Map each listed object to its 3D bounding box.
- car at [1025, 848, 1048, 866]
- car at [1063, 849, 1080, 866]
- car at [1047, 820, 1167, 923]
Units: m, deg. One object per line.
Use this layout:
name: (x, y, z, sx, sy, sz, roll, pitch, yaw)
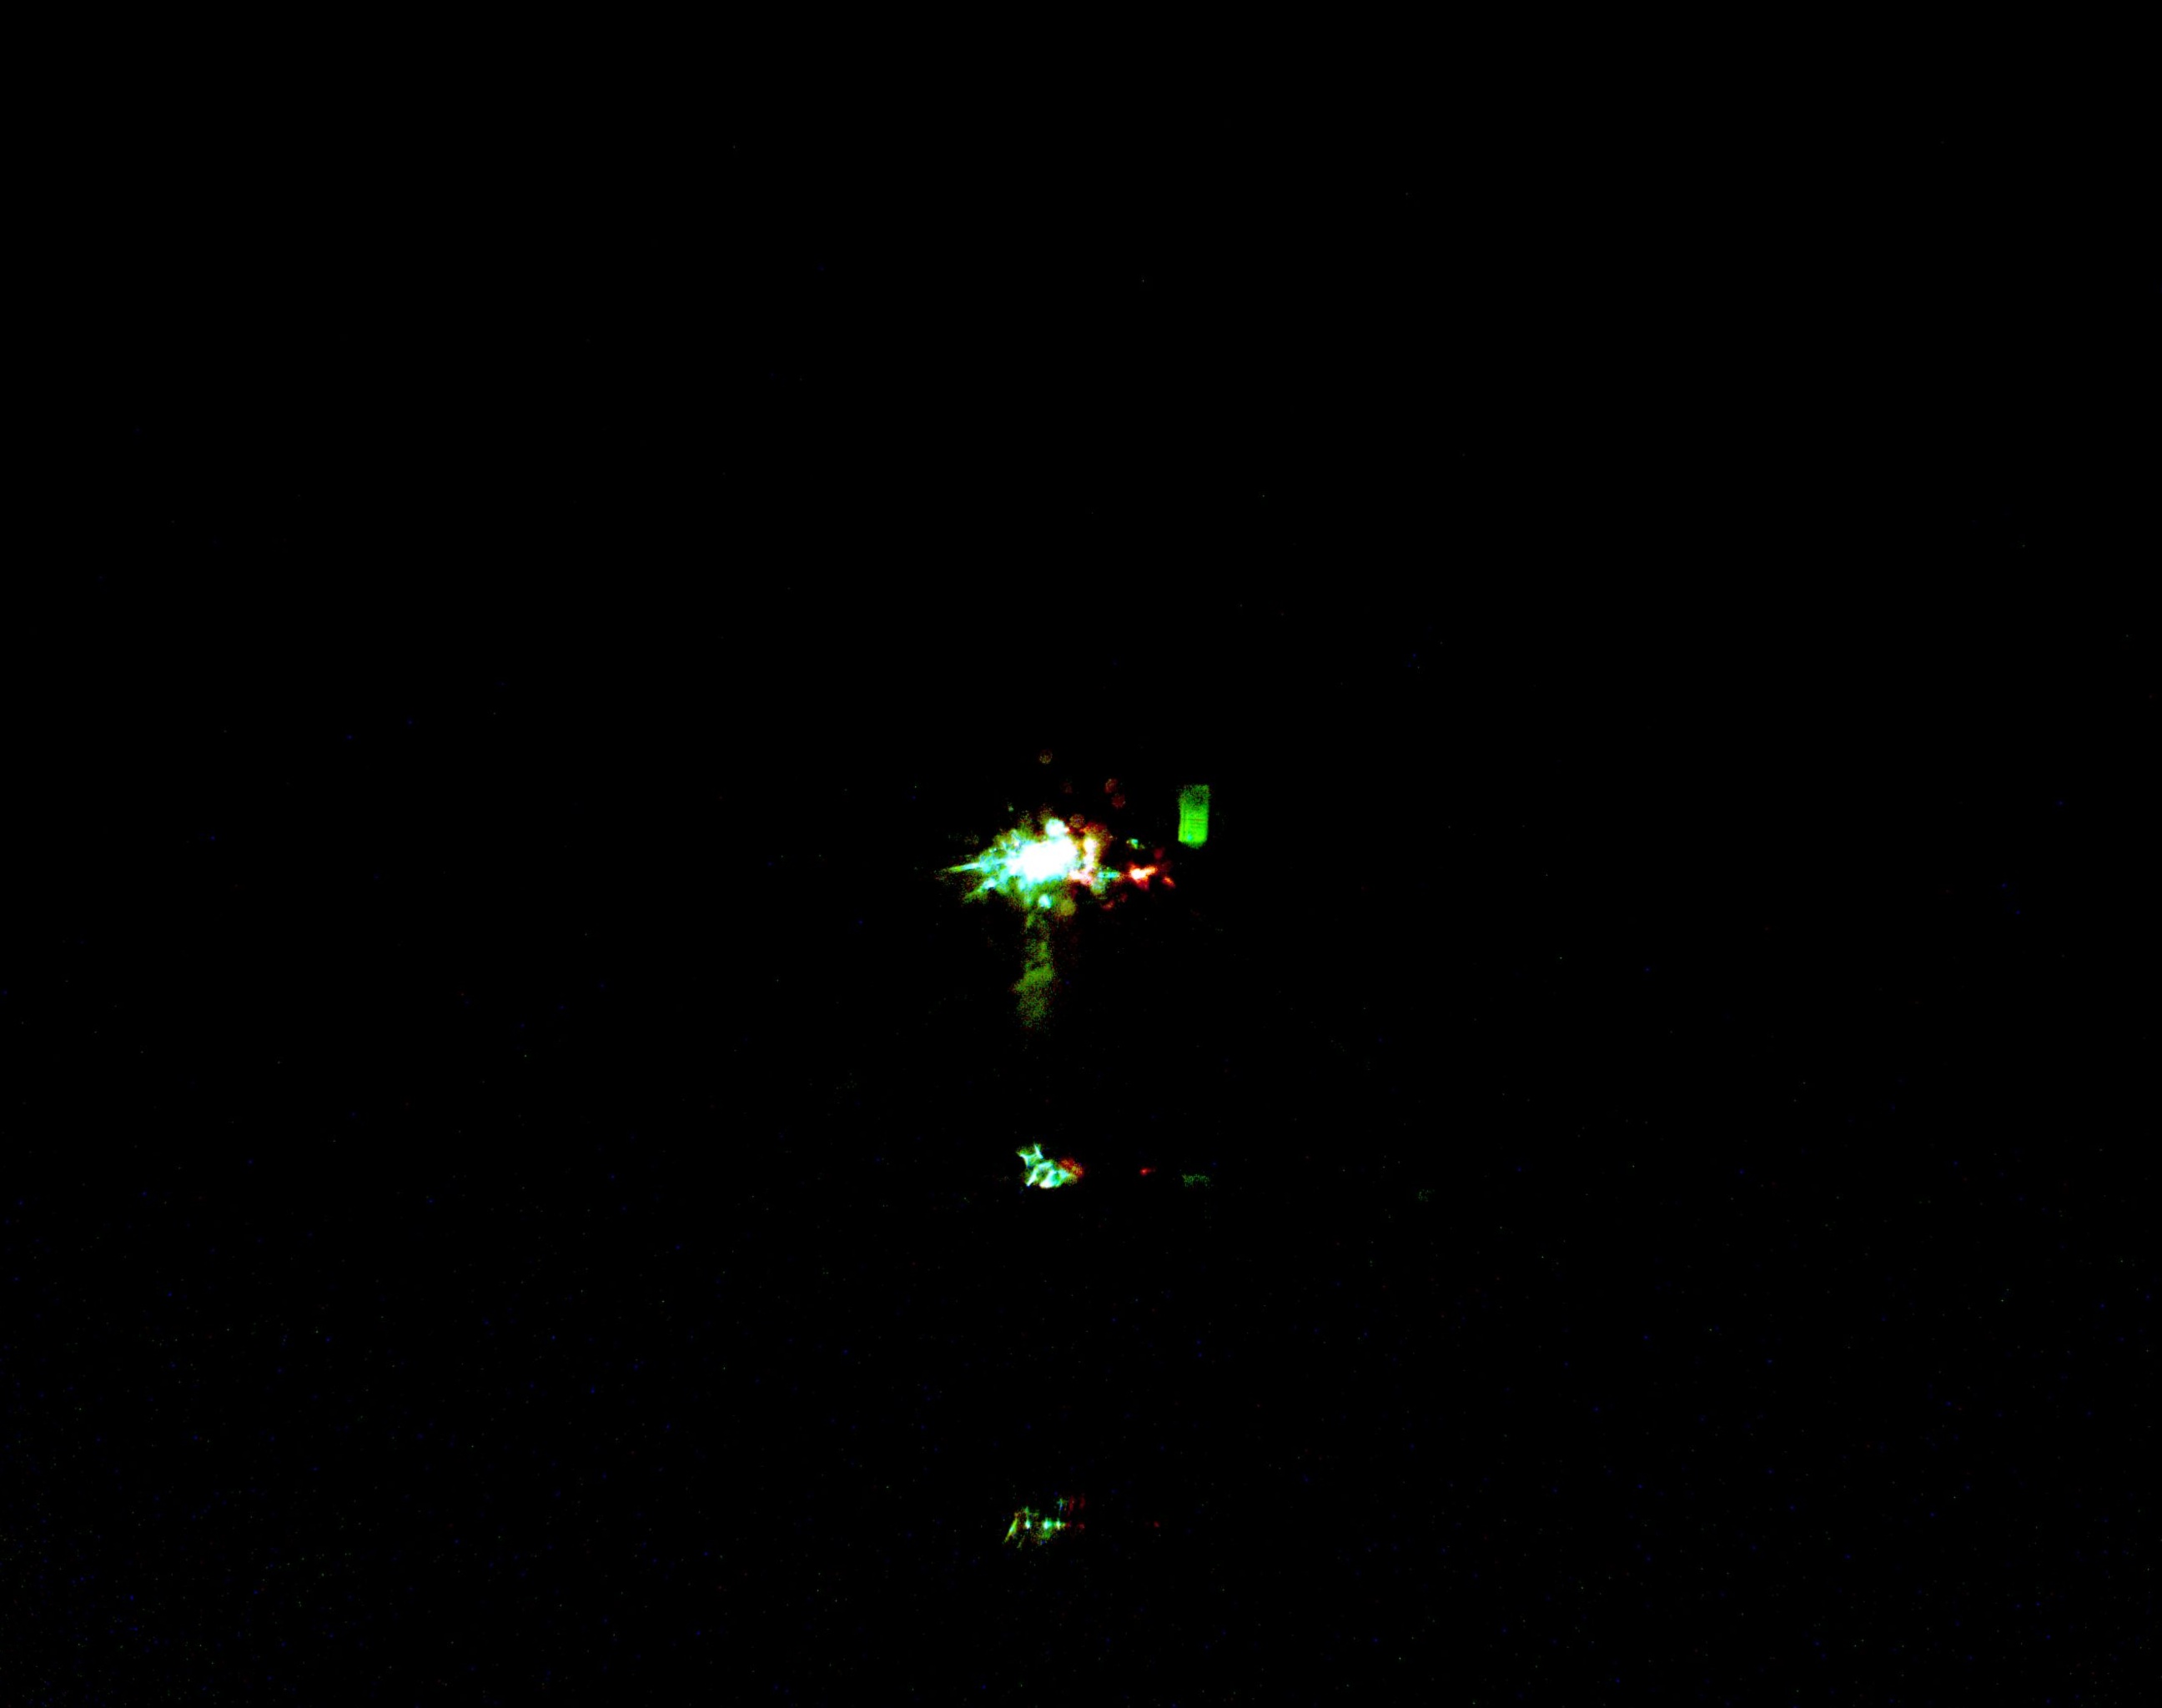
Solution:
car: (-3.978, 0.245, 73.497, 1.857, 1.544, 4.228, 1, 1, -1)
car: (-1.095, 0.417, 95.350, 1.988, 1.915, 3.998, 0, 0, -1)
car: (0.580, 0.413, 21.755, 2.707, 2.307, 6.098, -1, 0, -1)
